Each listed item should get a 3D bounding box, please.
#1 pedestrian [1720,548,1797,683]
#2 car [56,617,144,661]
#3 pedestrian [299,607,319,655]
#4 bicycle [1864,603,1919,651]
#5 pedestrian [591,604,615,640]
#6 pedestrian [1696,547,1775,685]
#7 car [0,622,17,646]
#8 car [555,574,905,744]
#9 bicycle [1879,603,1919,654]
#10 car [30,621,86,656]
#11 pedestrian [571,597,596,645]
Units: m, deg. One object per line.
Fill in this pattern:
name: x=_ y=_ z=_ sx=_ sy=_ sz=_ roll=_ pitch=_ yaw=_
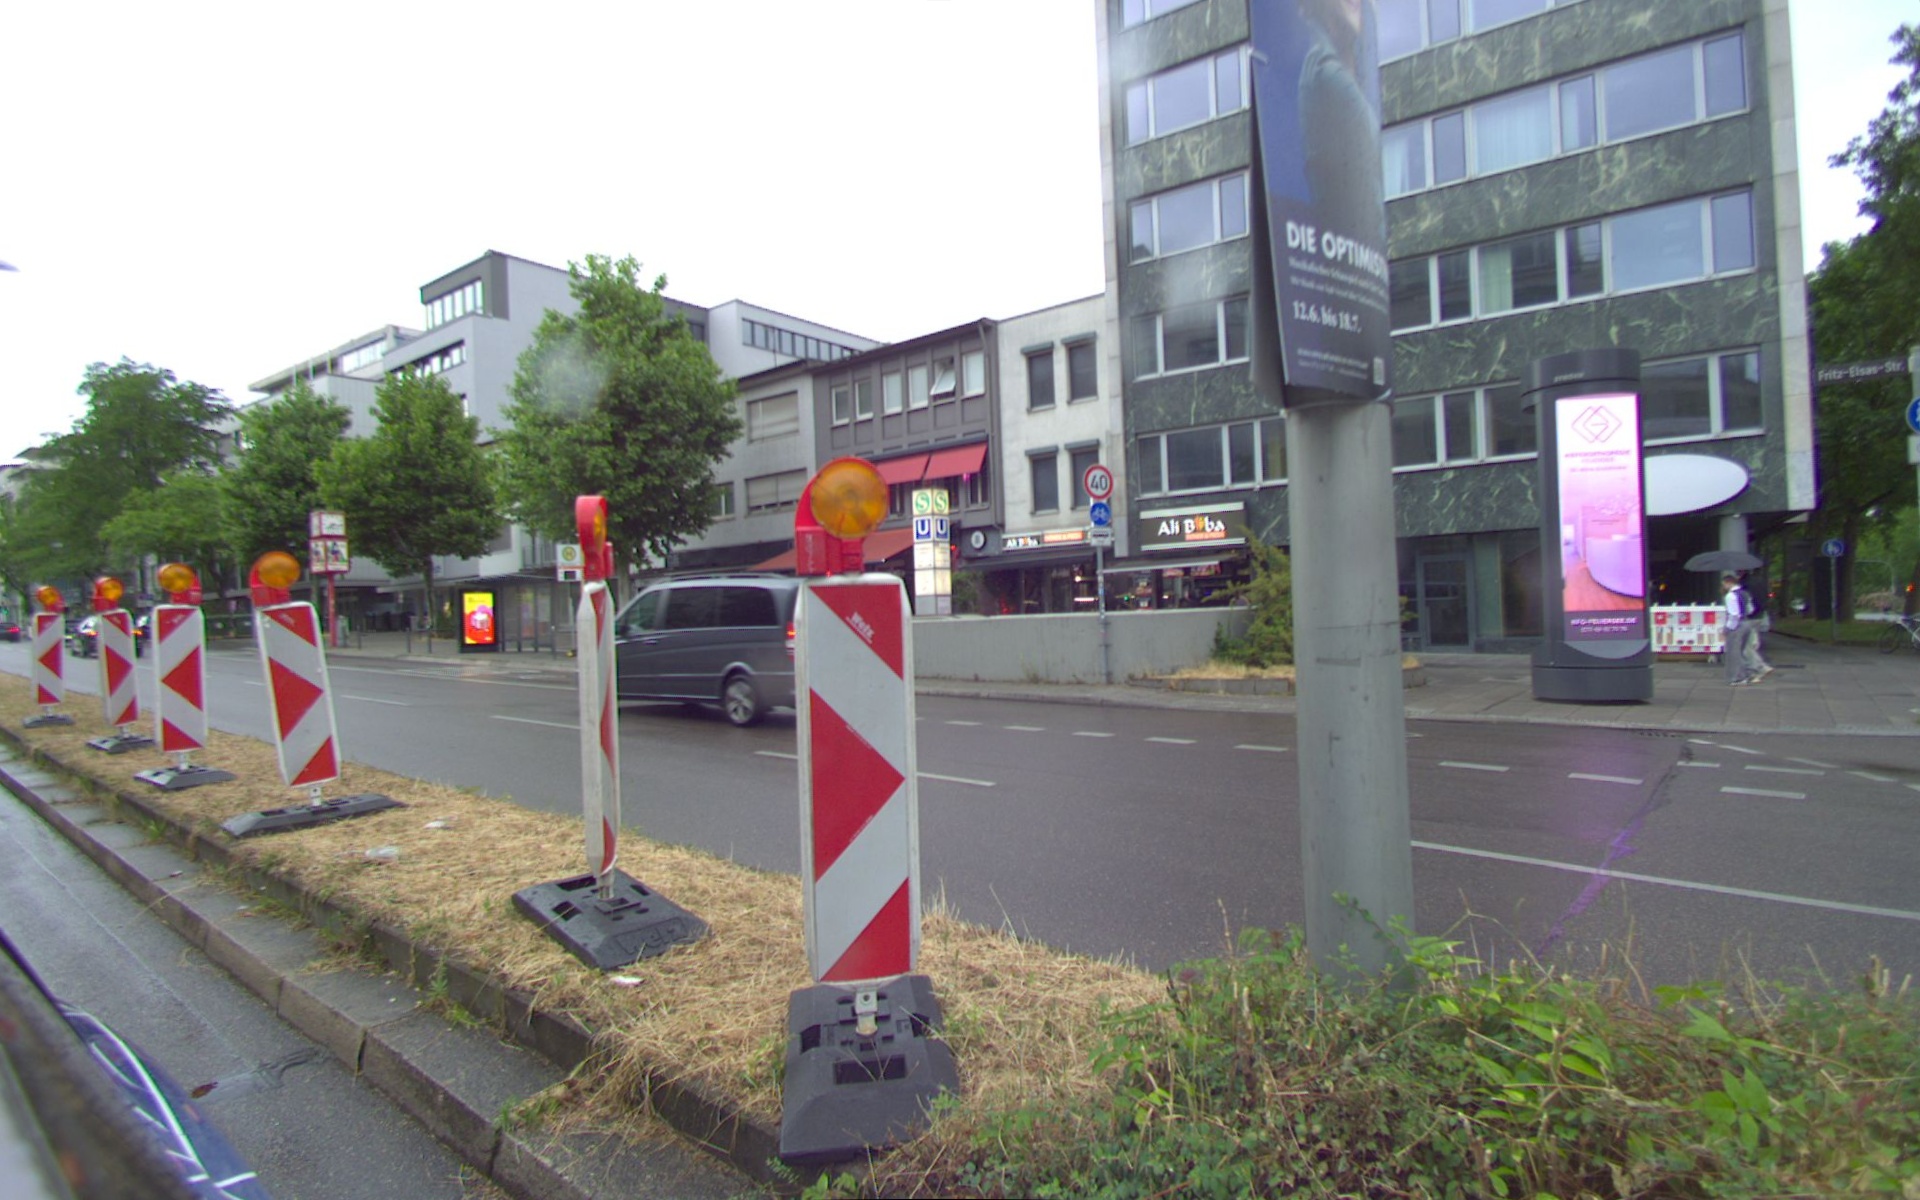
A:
pedestrian: x=12.397 y=0.236 z=15.717 sx=0.588 sy=2.029 sz=0.730 roll=0 pitch=-1 yaw=-29
car: x=-31.690 y=1.431 z=37.272 sx=4.285 sy=1.522 sz=1.671 roll=-2 pitch=-1 yaw=38
pedestrian: x=-25.598 y=1.210 z=39.796 sx=0.567 sy=1.839 sz=0.581 roll=-1 pitch=0 yaw=-43
bicycle: x=21.252 y=0.592 z=22.390 sx=1.780 sy=1.060 sz=0.579 roll=-1 pitch=-1 yaw=37
pedestrian: x=-15.881 y=0.978 z=45.006 sx=0.764 sy=1.577 sz=0.768 roll=-1 pitch=0 yaw=-41
pedestrian: x=11.749 y=0.240 z=15.348 sx=0.588 sy=2.029 sz=0.730 roll=0 pitch=-1 yaw=-29
car: x=-65.050 y=2.293 z=68.121 sx=4.415 sy=1.566 sz=1.671 roll=-2 pitch=-1 yaw=39
car: x=-3.293 y=0.636 z=13.969 sx=4.956 sy=1.941 sz=1.976 roll=2 pitch=1 yaw=36
bicycle: x=20.757 y=0.597 z=21.482 sx=1.780 sy=1.060 sz=0.579 roll=-1 pitch=-1 yaw=37
car: x=-46.687 y=2.003 z=52.355 sx=4.211 sy=1.442 sz=1.670 roll=-7 pitch=-5 yaw=41
pedestrian: x=-16.454 y=0.910 z=44.208 sx=0.764 sy=2.029 sz=0.768 roll=-1 pitch=0 yaw=-41
